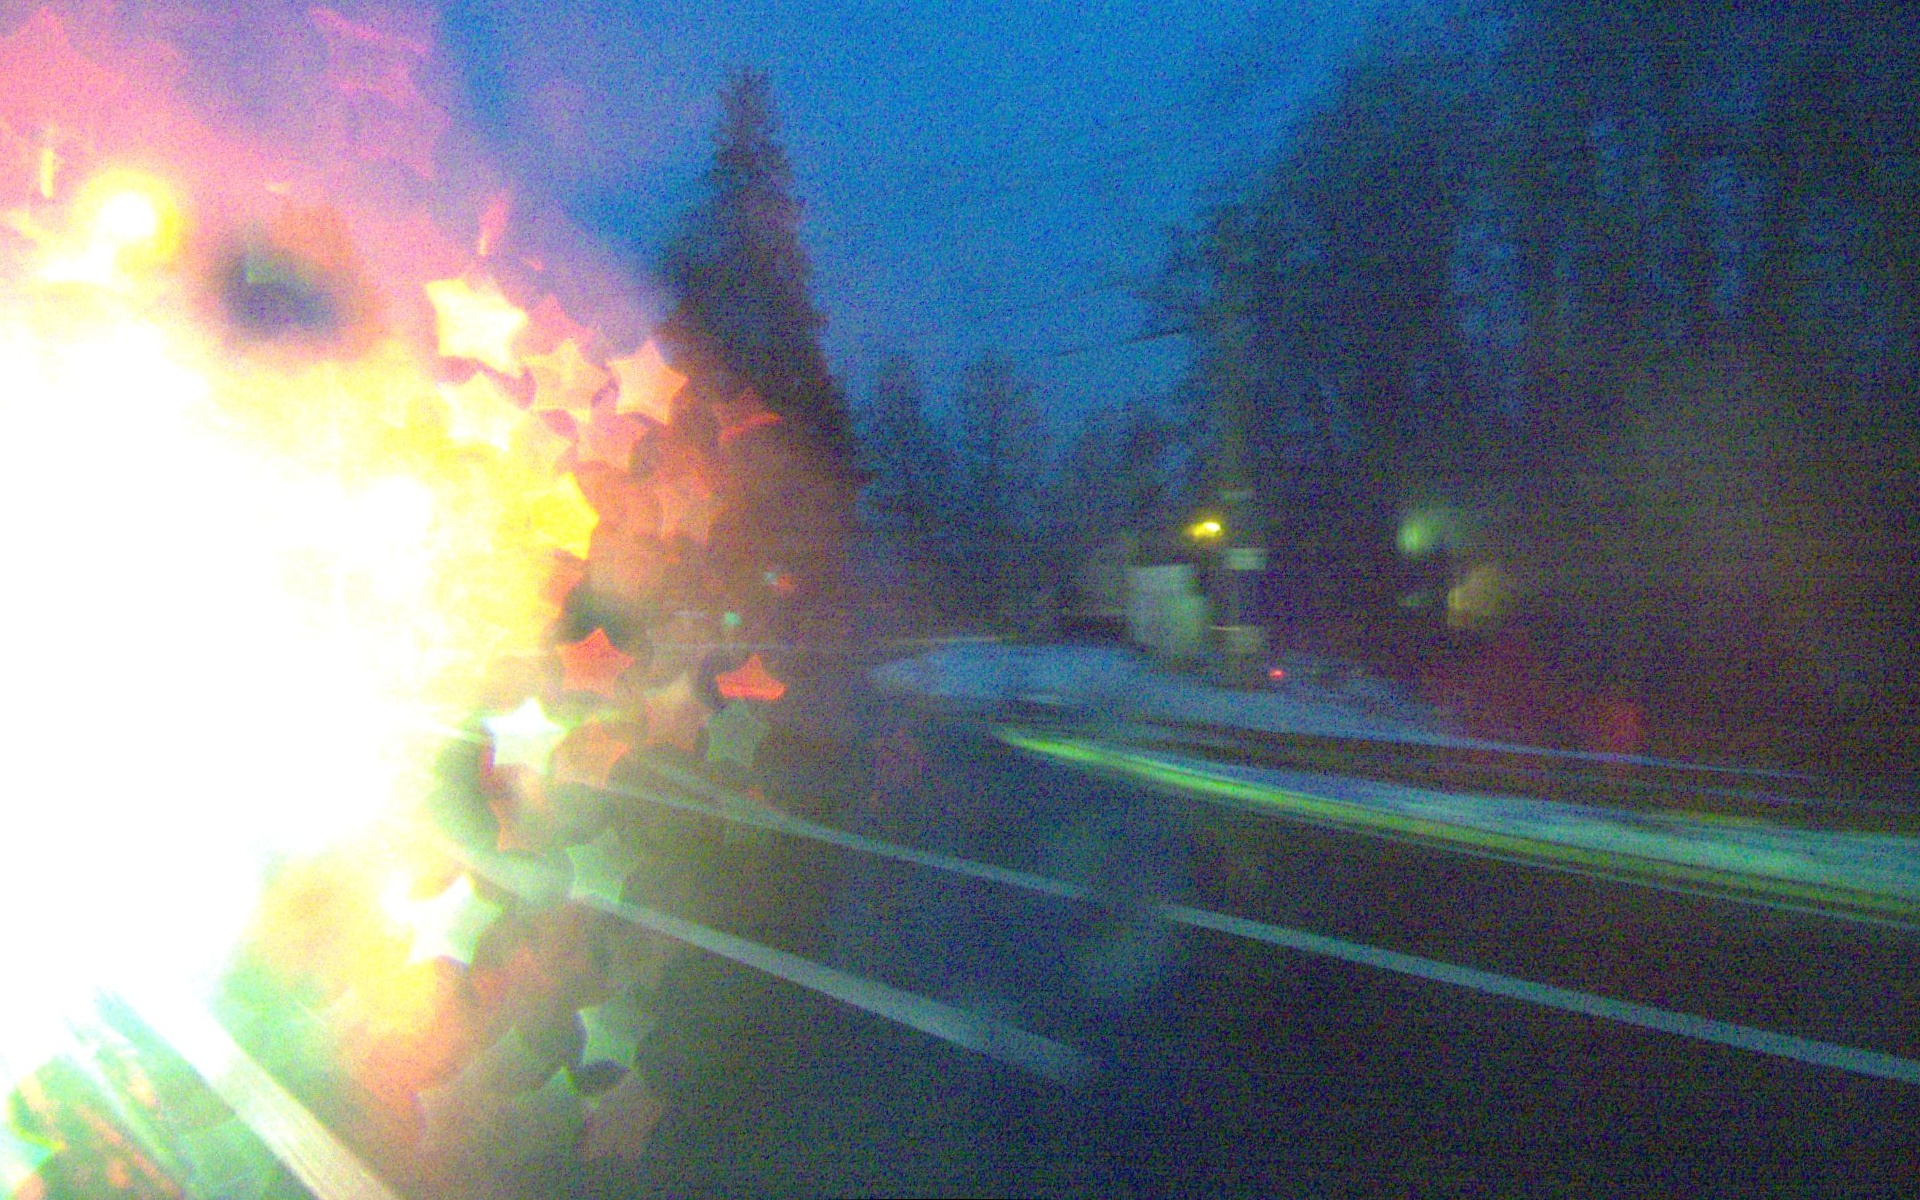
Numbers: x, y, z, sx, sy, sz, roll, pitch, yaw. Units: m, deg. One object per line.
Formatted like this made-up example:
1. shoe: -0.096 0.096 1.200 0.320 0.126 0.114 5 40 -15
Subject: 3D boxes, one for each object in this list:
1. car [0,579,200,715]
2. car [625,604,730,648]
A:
1. car: -13.142 0.668 14.657 1.863 1.701 4.351 -1 -1 -14
2. car: -11.380 1.020 40.654 4.481 1.598 1.912 1 -1 42
